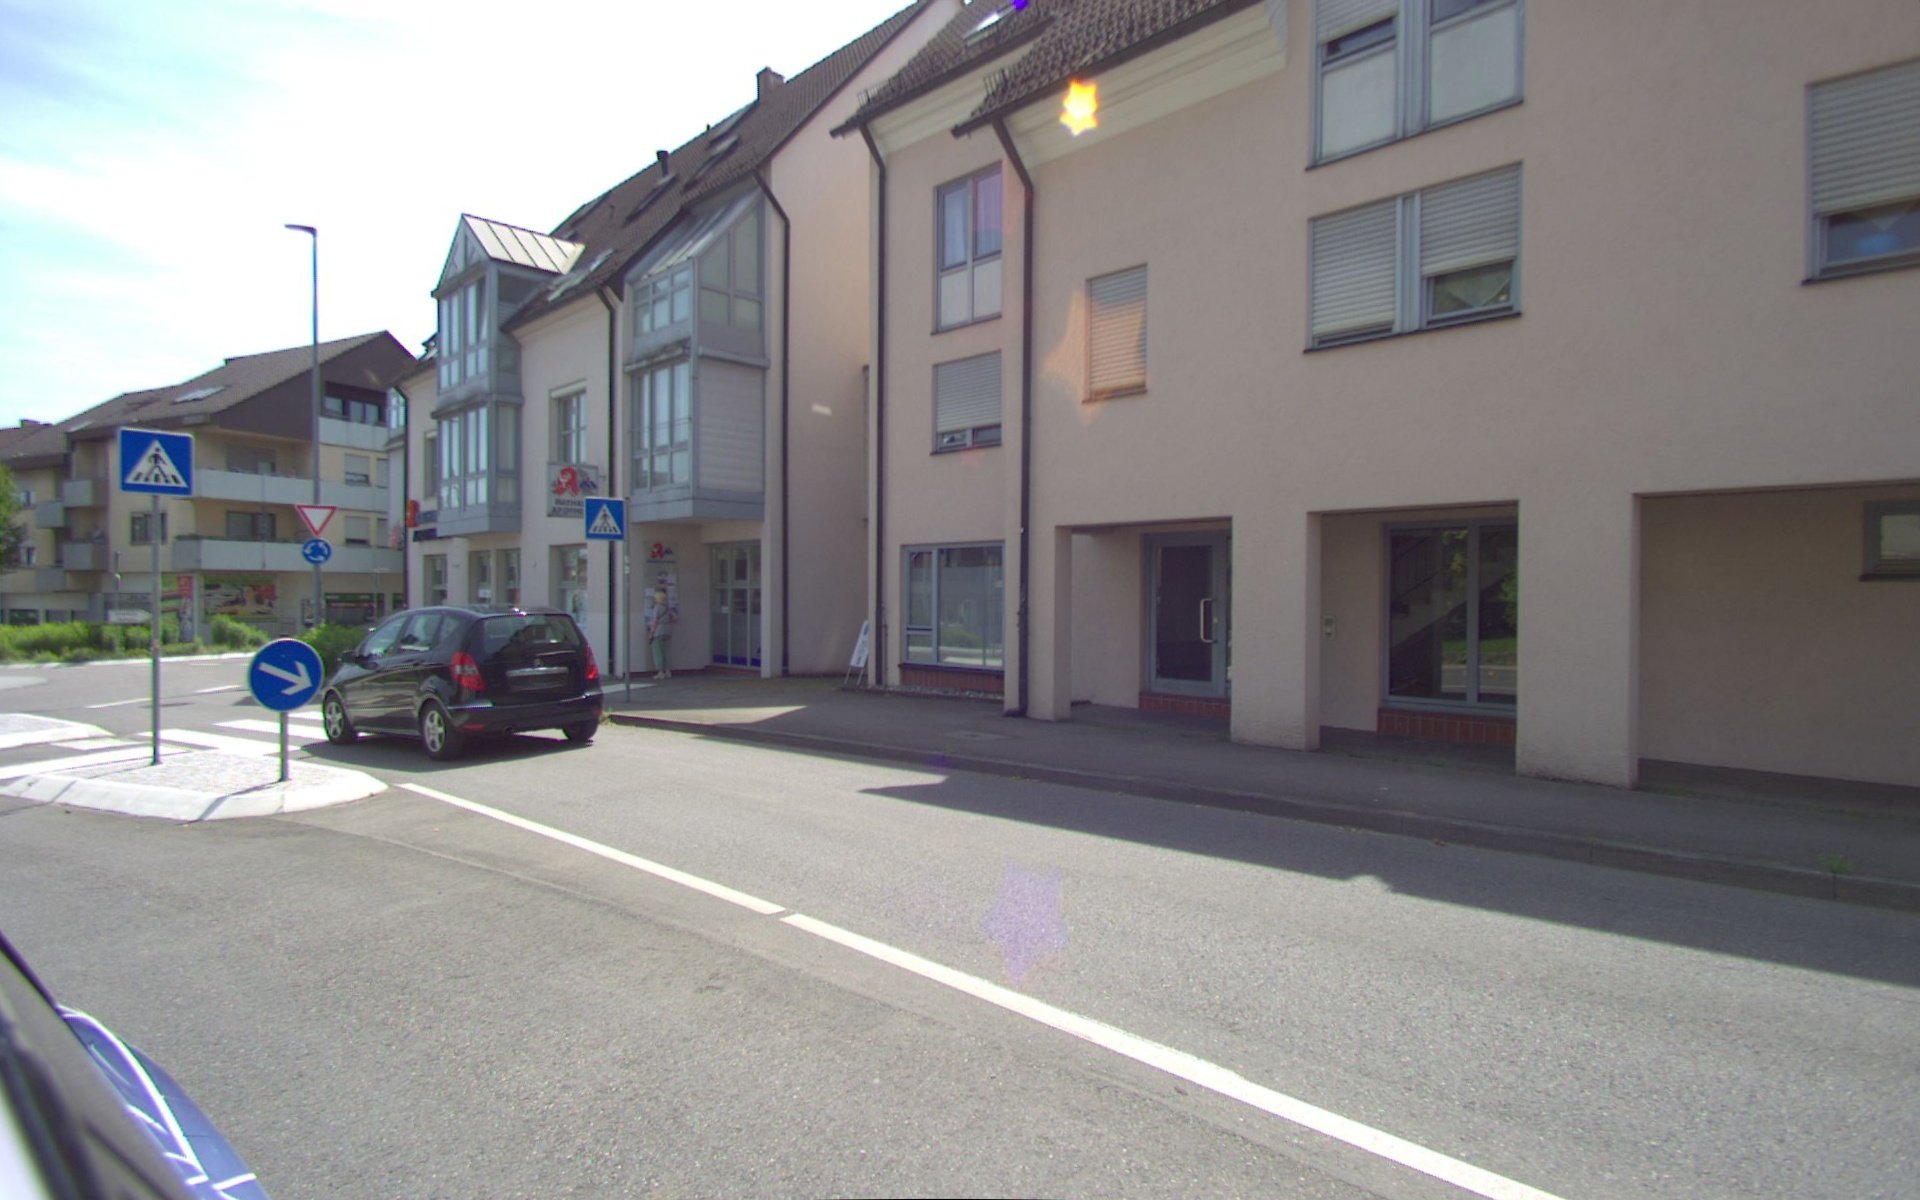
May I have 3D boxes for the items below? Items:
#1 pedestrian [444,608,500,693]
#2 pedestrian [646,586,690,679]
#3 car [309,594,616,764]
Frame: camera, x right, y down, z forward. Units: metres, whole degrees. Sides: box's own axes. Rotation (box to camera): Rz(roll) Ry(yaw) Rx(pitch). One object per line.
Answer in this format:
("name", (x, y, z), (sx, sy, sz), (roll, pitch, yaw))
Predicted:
("pedestrian", (-9.021, 0.913, 18.685), (0.789, 1.489, 0.960), (-1, 0, -33))
("pedestrian", (-5.597, 0.614, 19.394), (0.568, 1.722, 0.580), (-2, 0, -42))
("car", (-5.782, 0.792, 11.565), (3.942, 1.596, 1.734), (-2, 0, 41))
